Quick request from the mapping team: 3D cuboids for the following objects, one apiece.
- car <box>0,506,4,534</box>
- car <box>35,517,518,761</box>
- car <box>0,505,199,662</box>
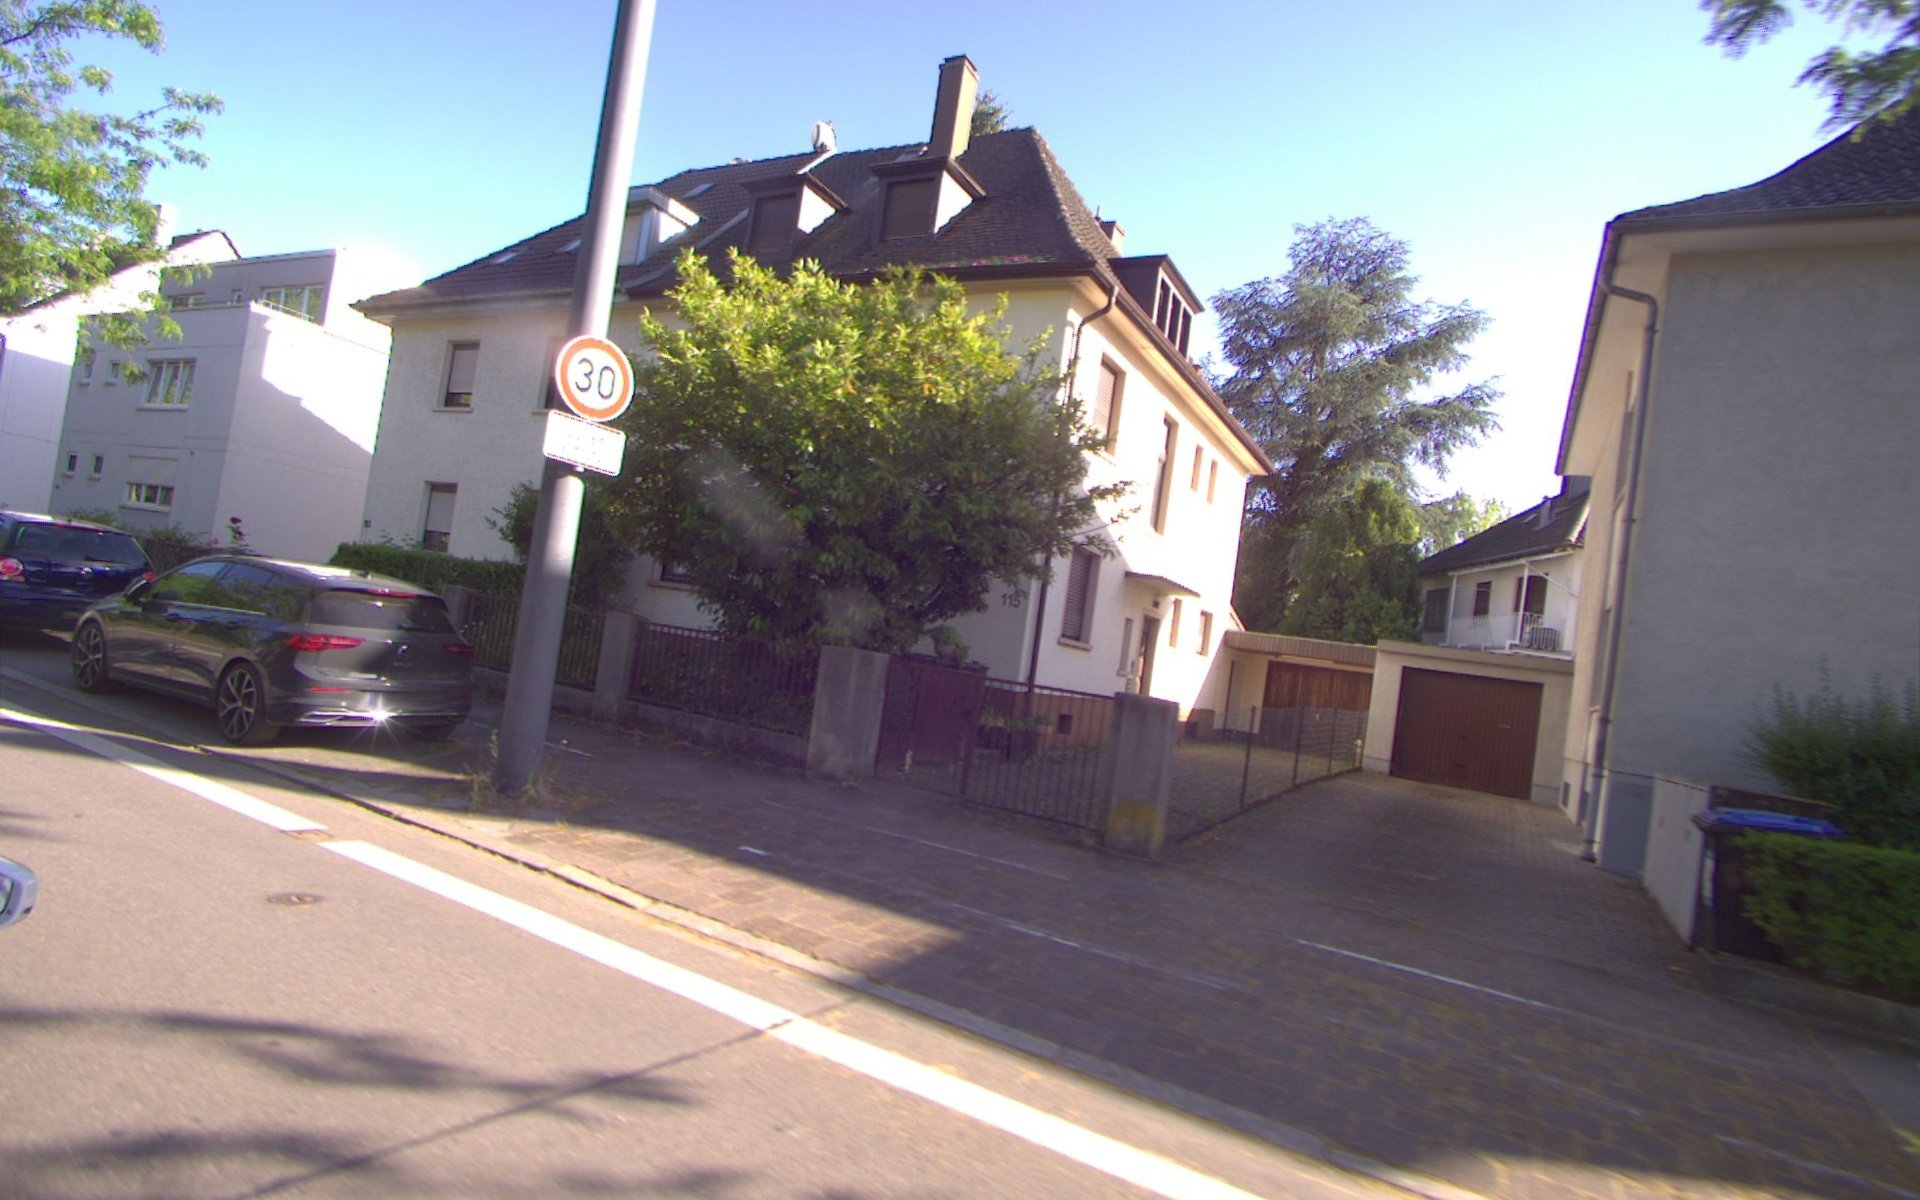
[{"bbox_3d":[-31.935,-2.579,30.332,1.845,1.357,4.063,7,-3,29],"label":"car"},{"bbox_3d":[-6.292,0.286,9.152,4.367,1.512,1.753,7,-2,29],"label":"car"},{"bbox_3d":[-11.130,-0.321,11.981,3.928,1.512,1.753,7,-2,29],"label":"car"}]
